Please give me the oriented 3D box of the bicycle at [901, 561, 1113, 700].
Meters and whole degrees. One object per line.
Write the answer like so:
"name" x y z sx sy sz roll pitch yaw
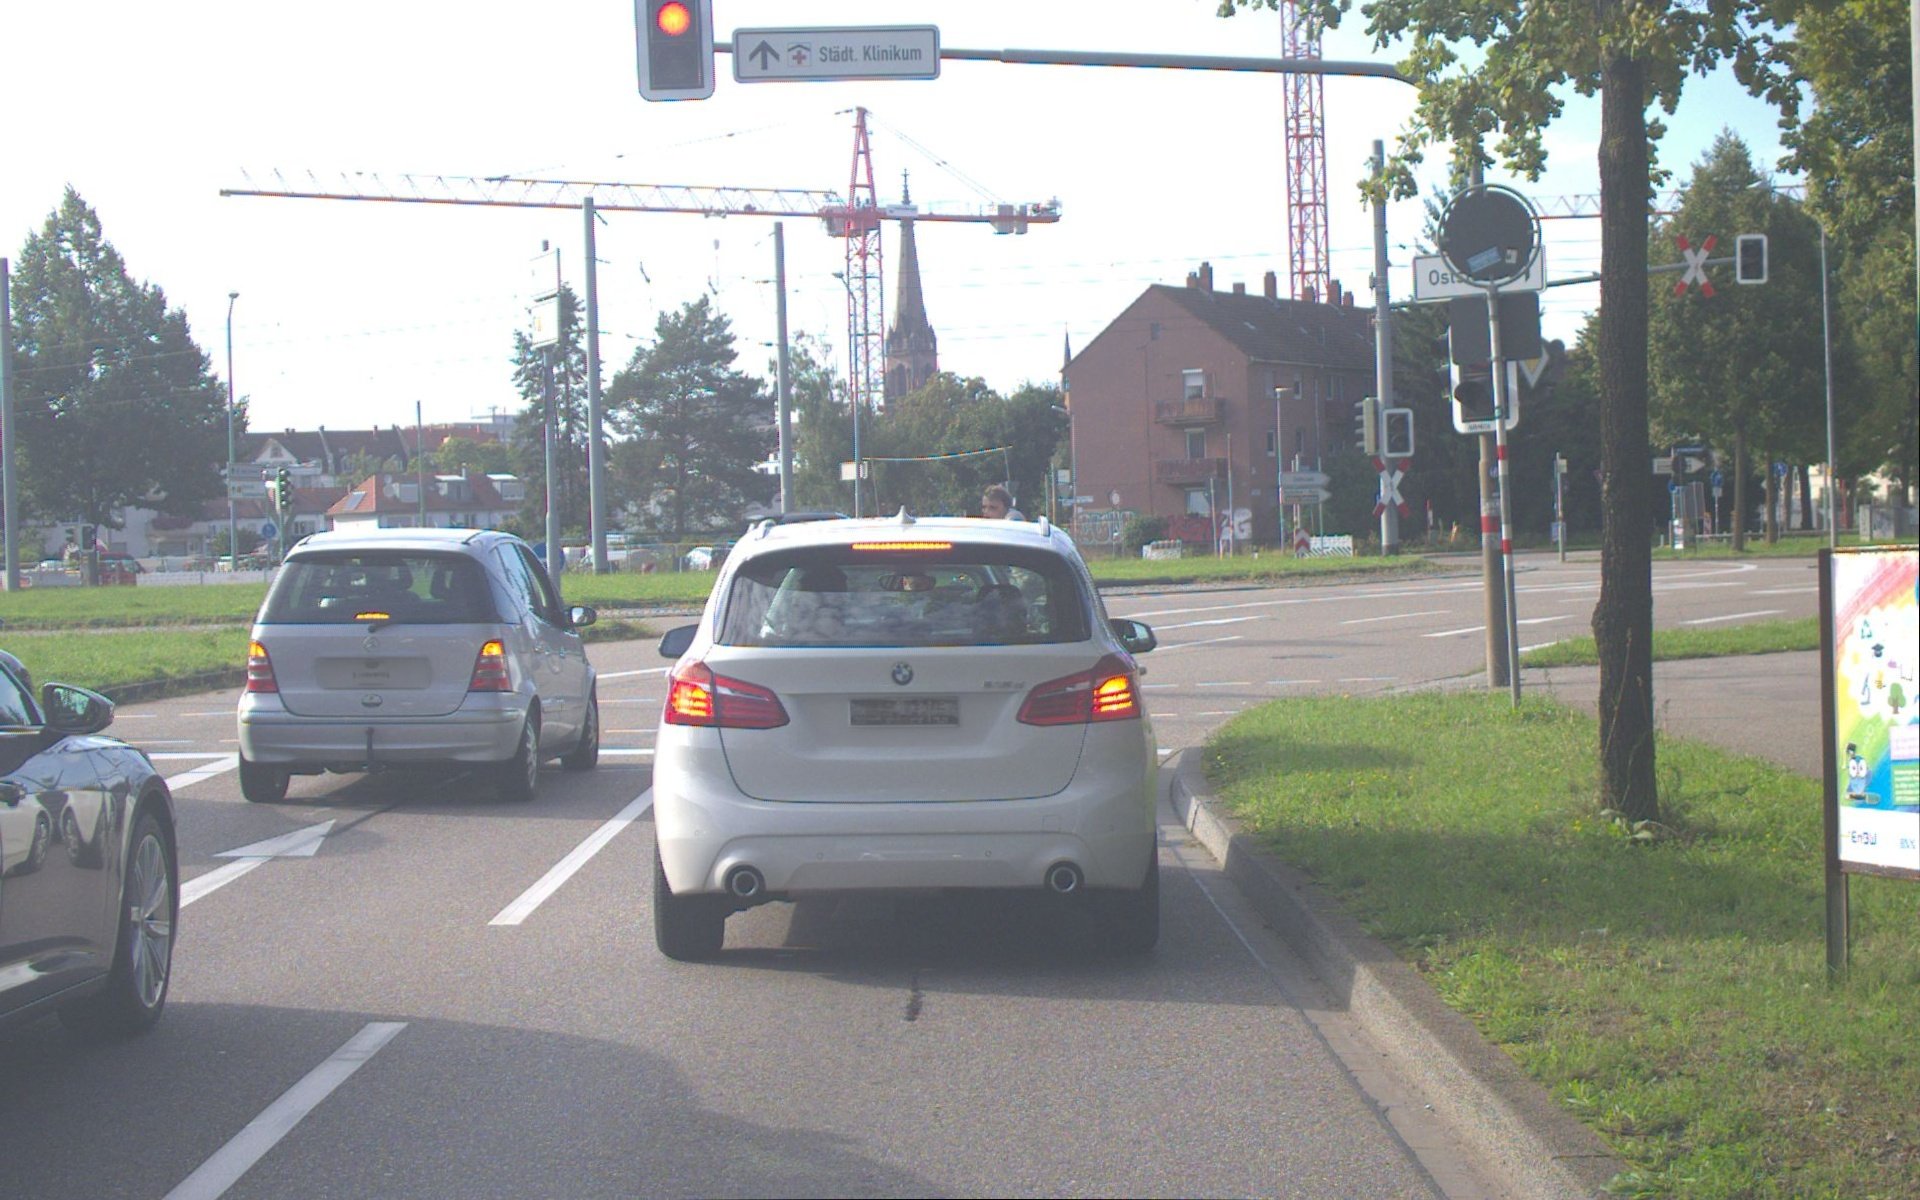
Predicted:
"bicycle" 0.412 0.261 30.385 1.724 1.159 0.656 -2 1 -16

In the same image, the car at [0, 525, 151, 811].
"car" -6.190 0.339 20.723 1.721 1.559 3.878 0 2 0

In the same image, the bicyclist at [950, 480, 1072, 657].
"bicyclist" 0.448 -0.283 30.388 0.848 1.521 0.741 -2 1 -17

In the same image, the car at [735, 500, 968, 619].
"car" -1.574 -0.595 49.154 3.187 1.568 1.575 -1 2 -6

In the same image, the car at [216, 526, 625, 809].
"car" -3.163 0.328 20.907 1.729 1.553 4.058 0 1 2

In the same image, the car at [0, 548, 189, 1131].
"car" -3.382 0.612 8.667 1.890 1.478 4.613 0 1 -1

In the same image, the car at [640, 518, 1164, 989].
"car" -0.217 0.467 13.431 1.729 1.553 4.058 0 1 -1
